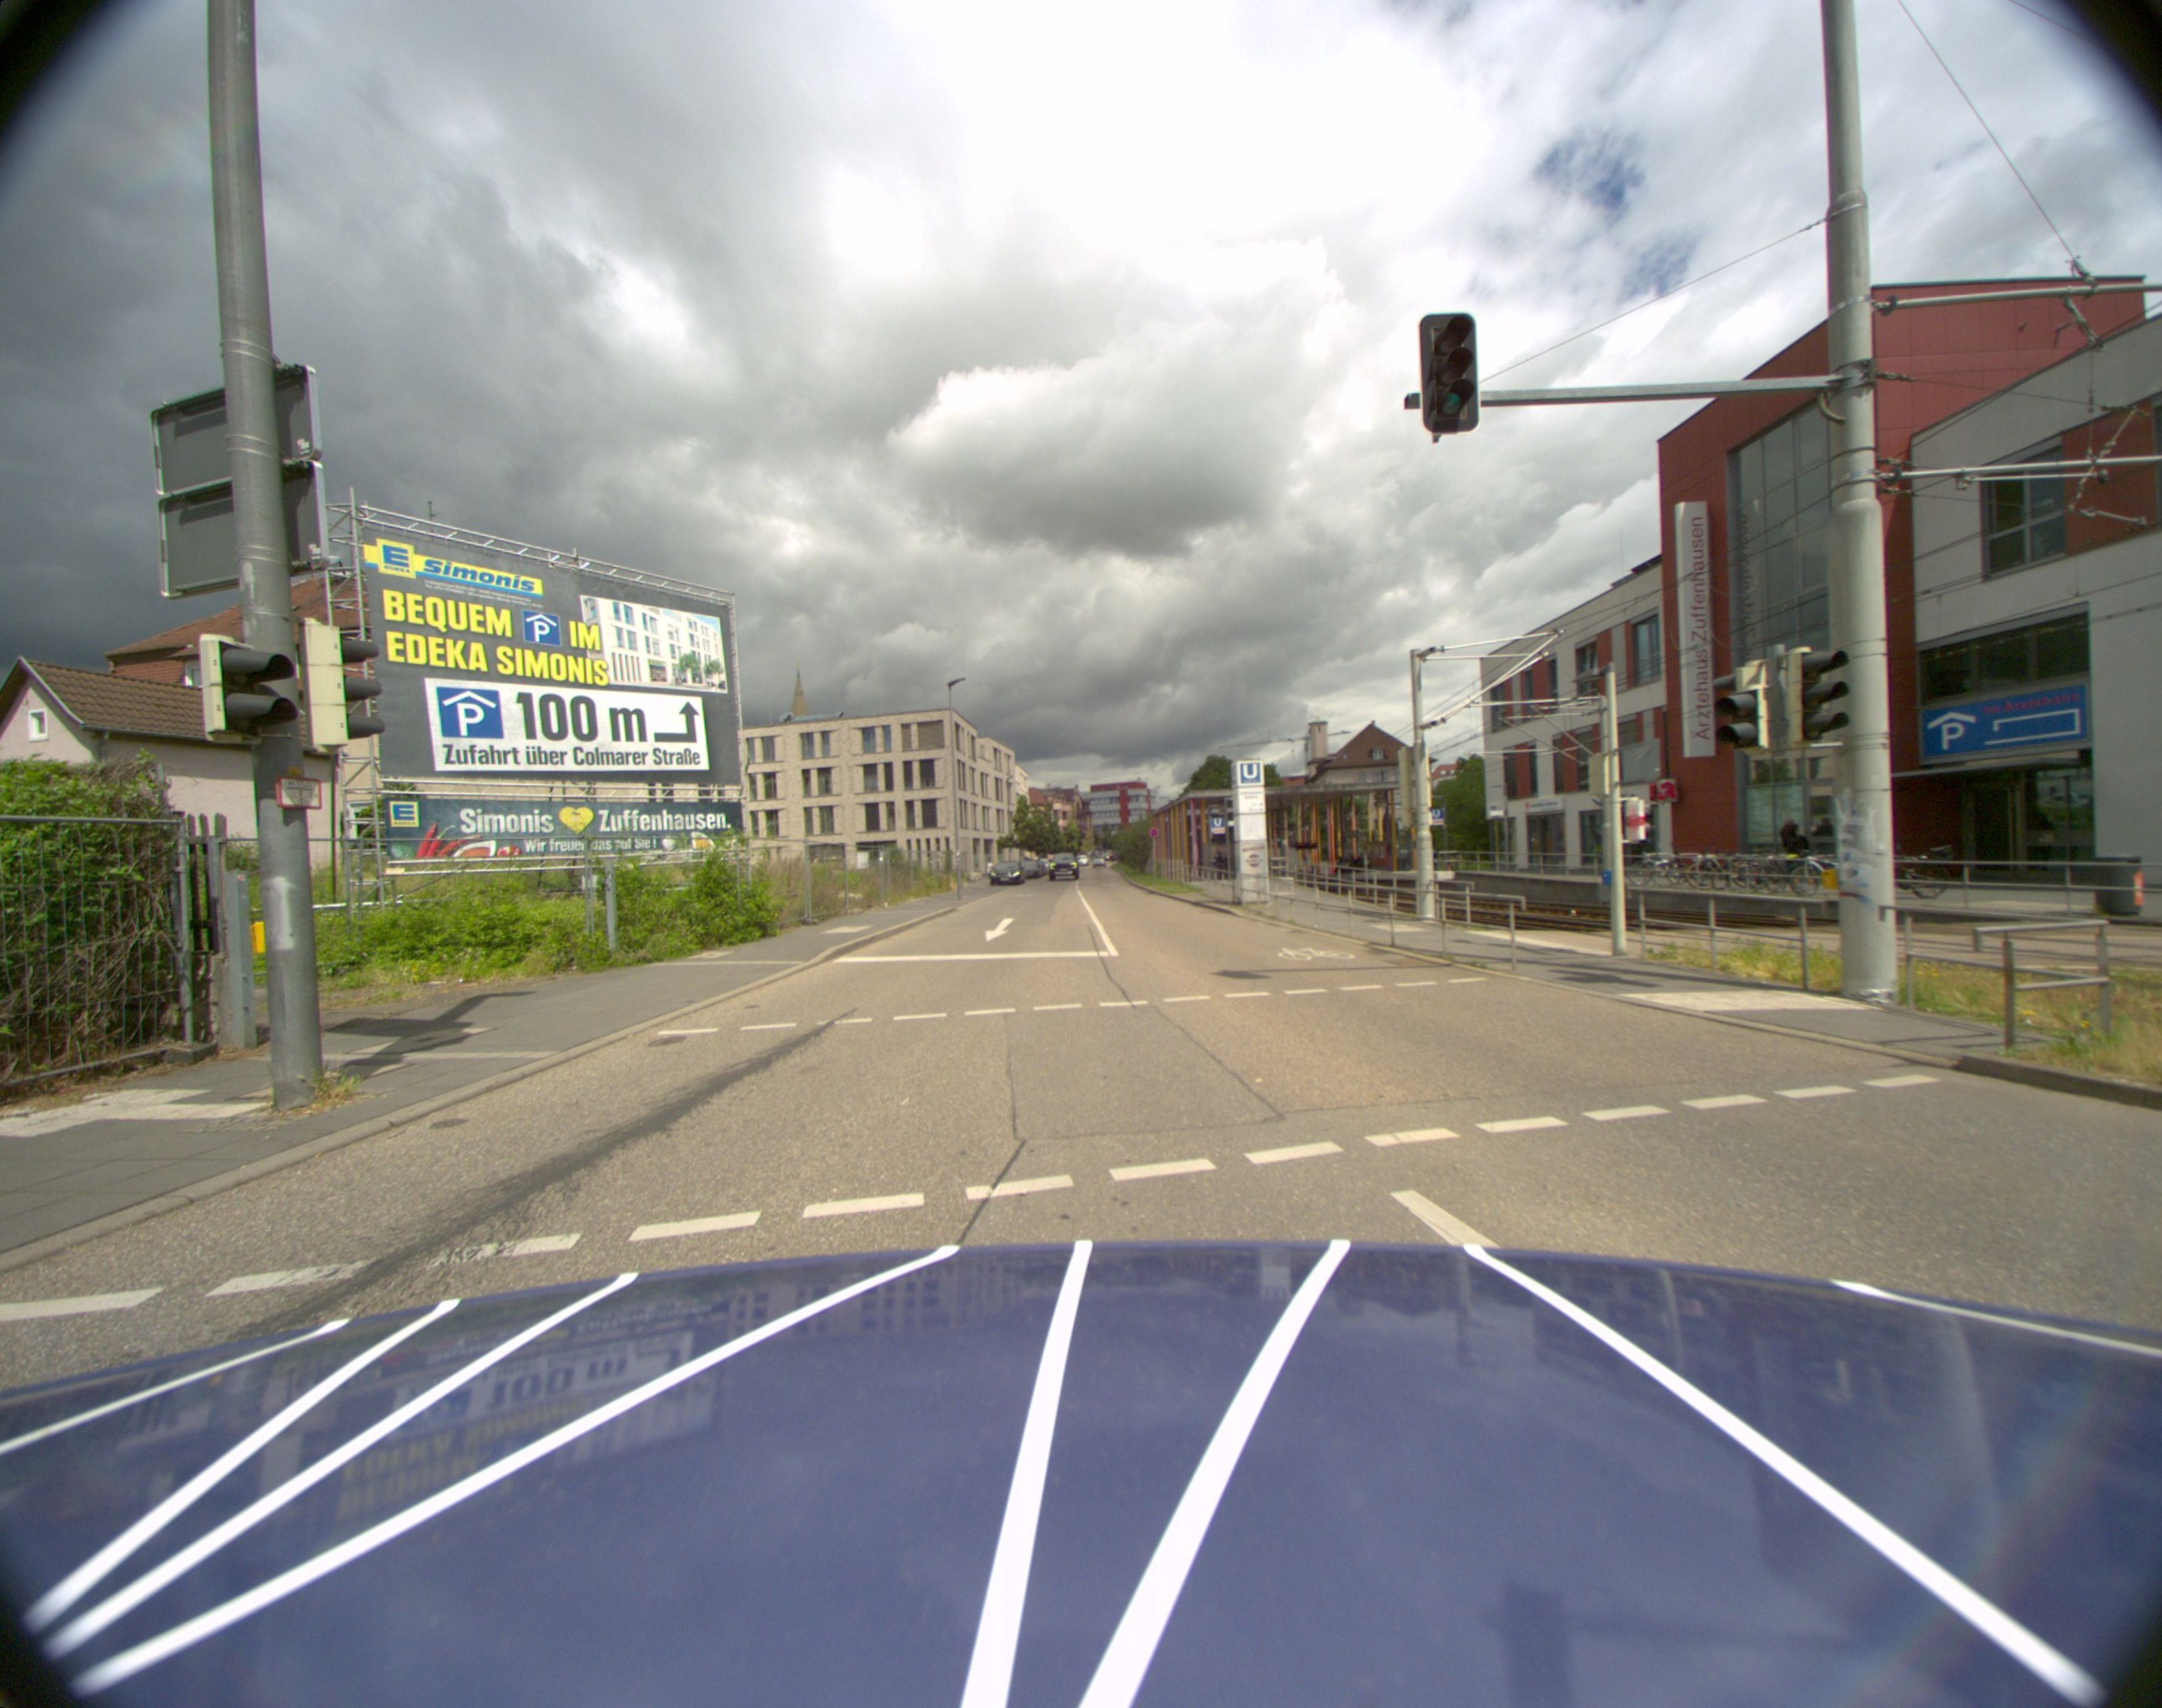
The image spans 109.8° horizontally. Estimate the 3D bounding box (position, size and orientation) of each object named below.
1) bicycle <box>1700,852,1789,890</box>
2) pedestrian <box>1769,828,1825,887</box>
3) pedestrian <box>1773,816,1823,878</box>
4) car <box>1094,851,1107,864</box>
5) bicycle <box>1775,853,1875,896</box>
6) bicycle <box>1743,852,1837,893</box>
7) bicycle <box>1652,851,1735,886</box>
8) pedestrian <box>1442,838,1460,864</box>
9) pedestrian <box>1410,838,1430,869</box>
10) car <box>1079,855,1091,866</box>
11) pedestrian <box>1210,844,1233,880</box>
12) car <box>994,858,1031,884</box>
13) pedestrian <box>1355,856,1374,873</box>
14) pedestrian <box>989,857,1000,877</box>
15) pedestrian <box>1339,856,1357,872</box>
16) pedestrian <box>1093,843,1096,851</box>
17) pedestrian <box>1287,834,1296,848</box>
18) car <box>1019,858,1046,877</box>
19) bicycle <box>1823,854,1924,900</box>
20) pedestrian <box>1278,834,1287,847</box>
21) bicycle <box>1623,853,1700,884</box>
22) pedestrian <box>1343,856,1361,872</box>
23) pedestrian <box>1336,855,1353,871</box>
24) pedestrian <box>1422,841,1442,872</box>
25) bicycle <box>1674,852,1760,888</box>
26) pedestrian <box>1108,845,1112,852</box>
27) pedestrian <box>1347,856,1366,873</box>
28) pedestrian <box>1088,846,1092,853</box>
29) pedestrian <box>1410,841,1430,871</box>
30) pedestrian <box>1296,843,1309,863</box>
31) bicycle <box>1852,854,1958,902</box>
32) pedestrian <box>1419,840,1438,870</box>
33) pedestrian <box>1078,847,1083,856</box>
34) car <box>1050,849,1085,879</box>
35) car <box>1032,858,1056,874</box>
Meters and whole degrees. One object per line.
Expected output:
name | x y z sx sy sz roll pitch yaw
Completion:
bicycle | 17.552 0.446 20.122 1.861 0.934 0.454 -2 1 5
pedestrian | 20.937 0.086 22.237 0.789 1.688 0.934 -2 2 -23
pedestrian | 22.014 -0.220 23.340 0.881 1.835 0.862 -4 3 -27
car | 2.530 0.428 98.427 1.588 1.528 3.946 -5 1 1
bicycle | 17.649 0.485 18.039 1.862 0.930 0.454 -2 1 3
bicycle | 17.686 0.454 18.970 1.862 0.957 0.454 -2 1 3
bicycle | 17.595 0.425 21.852 1.861 0.927 0.455 -2 1 9
pedestrian | 28.175 -0.224 57.855 1.103 1.957 0.866 0 2 32
pedestrian | 21.749 -0.013 48.745 0.864 1.957 1.106 -1 1 3
car | 0.637 0.872 109.698 1.719 1.541 3.793 -1 0 1
pedestrian | 7.706 0.424 41.644 1.105 1.903 0.864 -1 2 2
car | -4.115 0.988 46.082 1.677 1.415 3.795 -1 1 3
pedestrian | 19.270 0.736 51.684 0.943 1.128 0.886 -2 0 2
pedestrian | -6.847 1.038 60.180 0.673 1.503 0.782 -2 0 1
pedestrian | 19.187 0.685 54.588 0.943 1.128 0.886 -2 0 2
pedestrian | 2.615 -1.289 147.186 0.673 1.503 0.783 -2 0 3
pedestrian | 31.365 -1.977 113.237 1.125 2.002 1.662 -1 0 15
car | -3.798 1.022 59.958 1.677 1.367 3.795 -2 0 3
bicycle | 17.716 0.504 16.999 1.739 0.952 0.428 -2 1 3
pedestrian | 31.590 -2.127 119.164 1.127 2.002 0.815 -1 0 6
bicycle | 17.536 0.440 22.980 1.861 0.876 0.455 -2 1 9
pedestrian | 19.090 0.705 53.597 0.943 1.128 0.886 -2 0 2
pedestrian | 19.300 0.626 55.688 0.943 1.128 0.886 -2 0 2
pedestrian | 22.774 0.139 49.280 0.863 1.957 1.106 -1 1 6
bicycle | 17.570 0.440 21.023 1.861 0.917 0.455 -2 1 8
pedestrian | 6.100 -1.217 161.541 0.673 1.503 0.783 -1 0 11
pedestrian | 19.075 0.722 52.640 0.943 1.128 0.886 -2 0 2
pedestrian | 1.803 -0.882 147.566 0.673 1.503 0.783 -2 0 3
pedestrian | 21.980 0.123 49.308 0.863 1.957 1.106 -1 1 6
pedestrian | 23.765 -0.107 81.449 1.127 2.002 1.179 -1 0 6
bicycle | 17.727 0.517 16.366 1.739 0.947 0.428 -2 1 3
pedestrian | 23.434 0.045 51.245 0.863 1.957 1.106 -1 1 6
pedestrian | -0.039 -0.460 133.352 0.673 1.503 0.783 -1 0 16
car | -0.895 0.643 53.189 2.003 1.876 5.151 -1 1 4
car | -3.287 1.030 67.861 1.677 1.299 3.795 -1 1 3
